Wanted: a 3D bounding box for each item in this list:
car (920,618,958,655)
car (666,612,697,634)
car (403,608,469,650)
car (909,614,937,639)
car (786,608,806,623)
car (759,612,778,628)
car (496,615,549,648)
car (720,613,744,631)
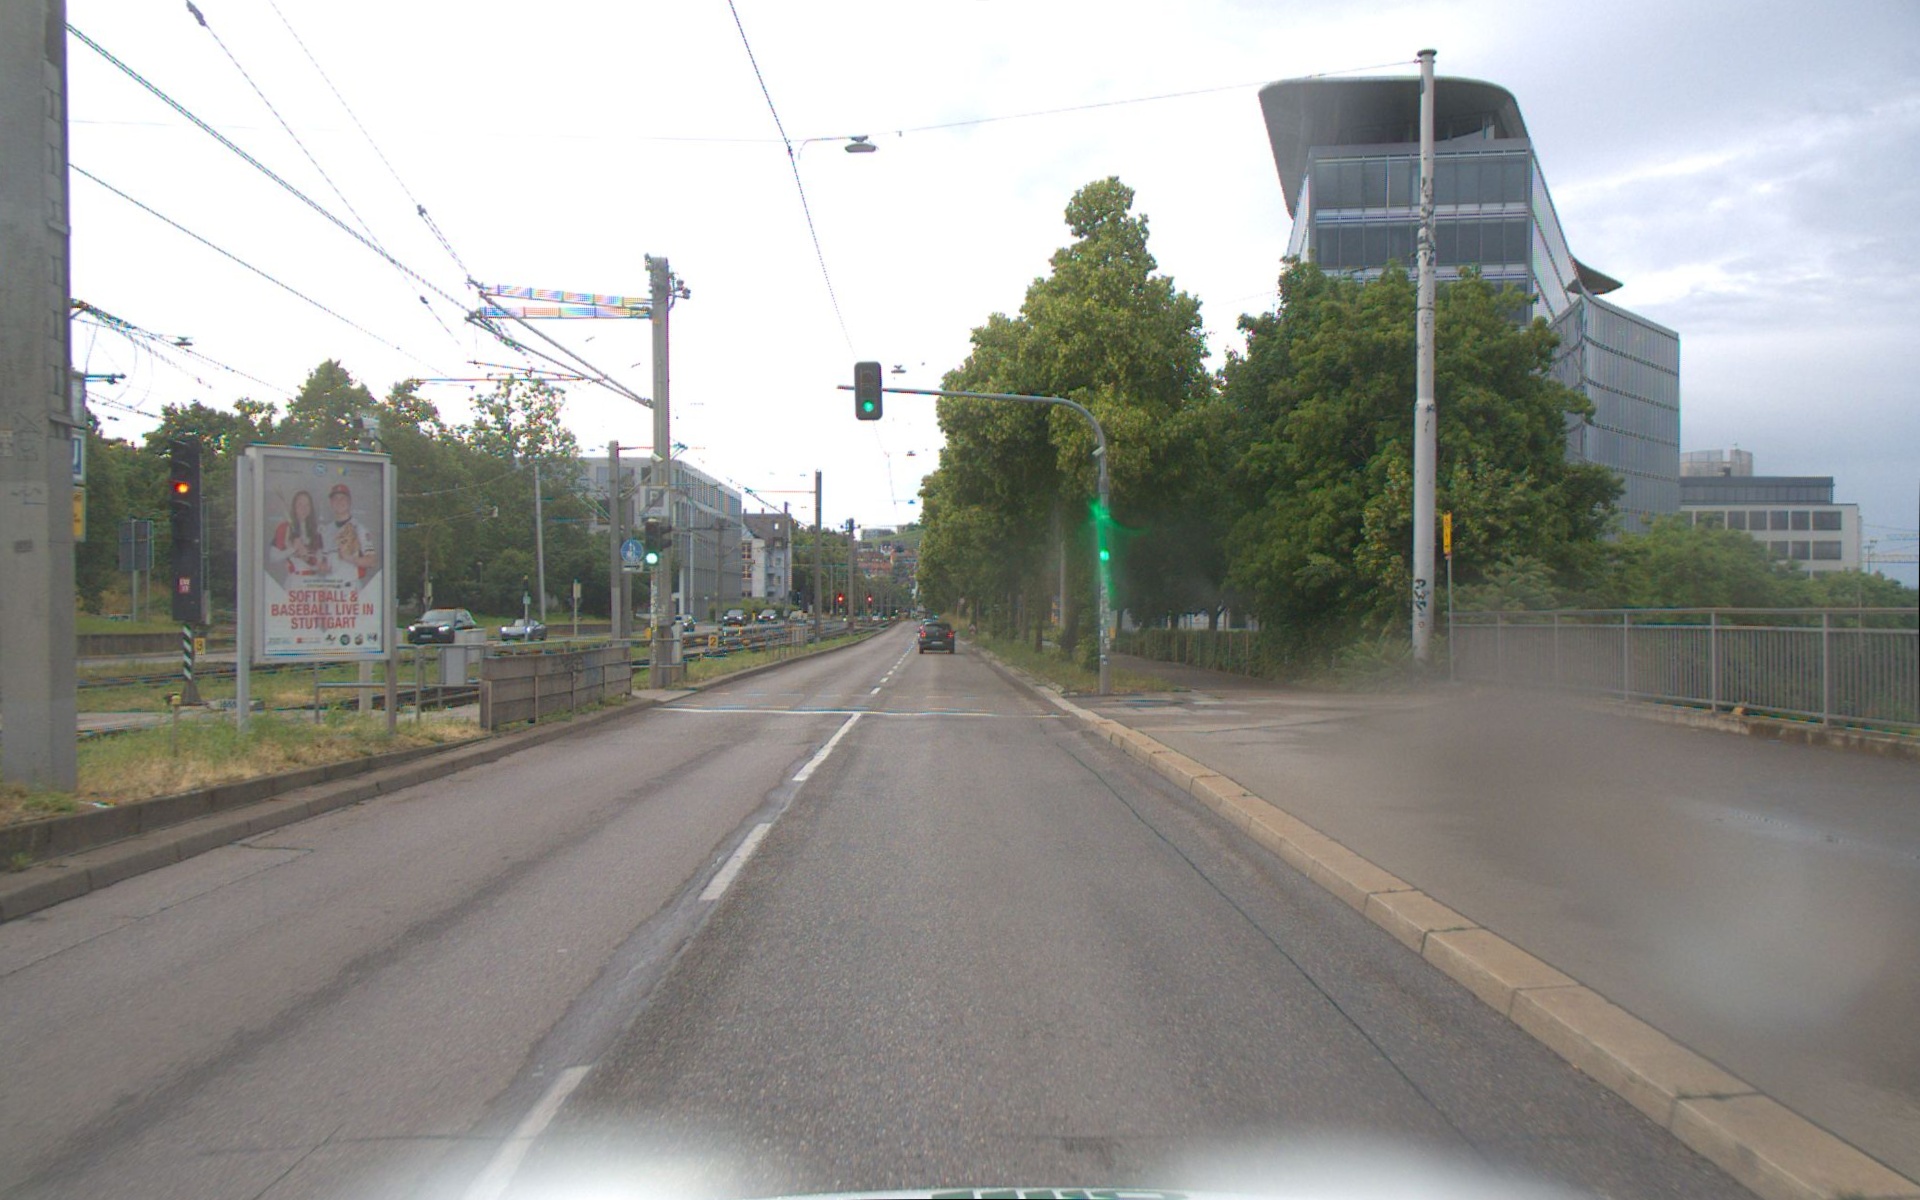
[{"bbox_3d":[-1.007,1.674,76.964,1.692,1.567,3.999,1,0,-2],"label":"car"},{"bbox_3d":[-24.083,1.975,143.312,1.811,1.660,3.611,3,2,3],"label":"car"},{"bbox_3d":[-23.251,1.266,73.516,1.632,1.660,3.305,3,2,3],"label":"car"},{"bbox_3d":[-2.323,1.650,103.912,1.692,1.450,3.999,1,0,-2],"label":"car"},{"bbox_3d":[-20.402,1.948,206.120,1.811,1.660,3.611,3,2,3],"label":"car"},{"bbox_3d":[-23.070,2.388,199.630,1.618,1.660,3.611,3,2,3],"label":"car"},{"bbox_3d":[-25.664,1.834,97.156,1.811,1.660,3.814,3,2,3],"label":"car"},{"bbox_3d":[-23.839,2.265,172.942,1.811,1.660,3.611,3,2,3],"label":"car"}]
